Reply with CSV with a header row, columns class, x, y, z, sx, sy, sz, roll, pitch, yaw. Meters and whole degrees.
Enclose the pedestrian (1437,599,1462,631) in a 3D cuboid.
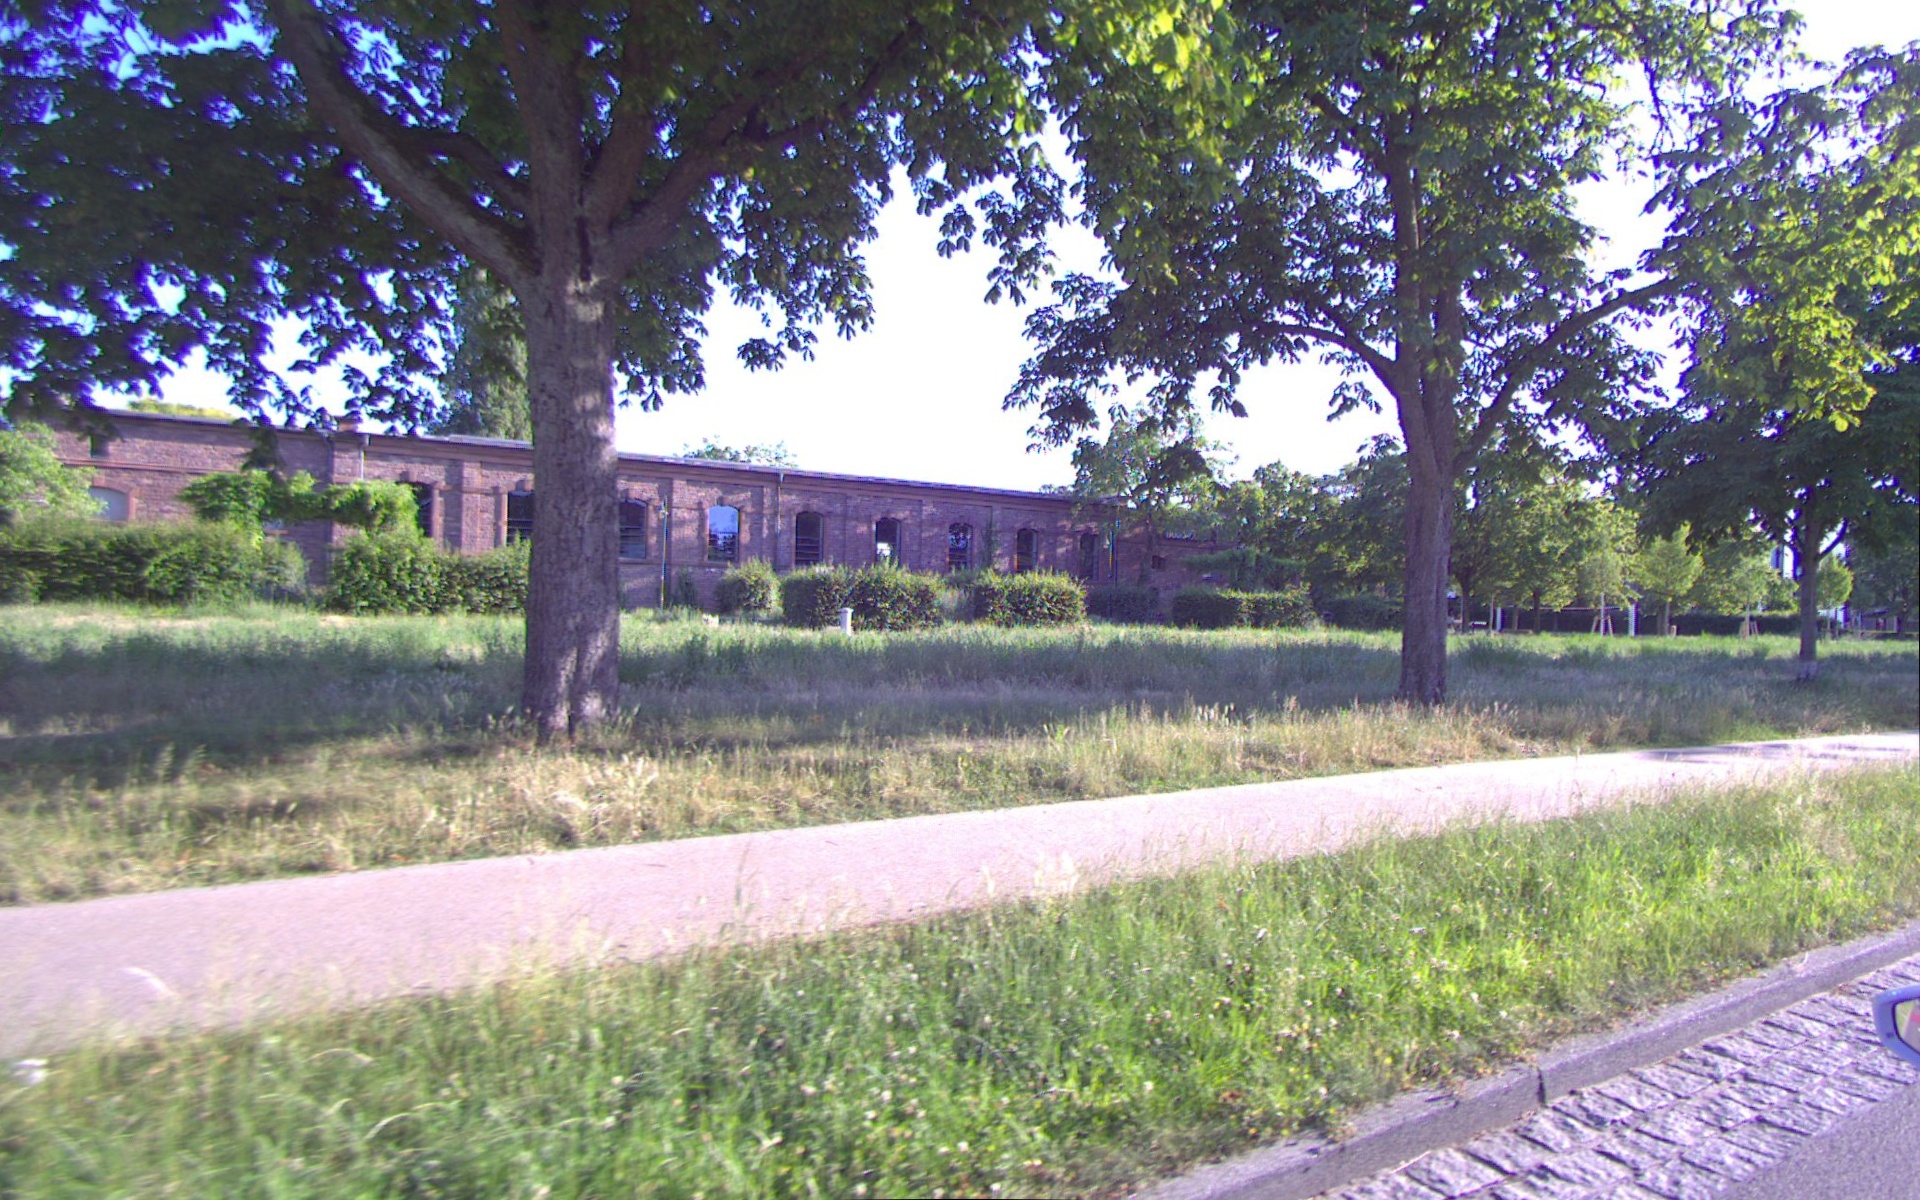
class,x,y,z,sx,sy,sz,roll,pitch,yaw
pedestrian,30.067,0.904,61.722,0.787,1.906,1.044,2,1,-27
